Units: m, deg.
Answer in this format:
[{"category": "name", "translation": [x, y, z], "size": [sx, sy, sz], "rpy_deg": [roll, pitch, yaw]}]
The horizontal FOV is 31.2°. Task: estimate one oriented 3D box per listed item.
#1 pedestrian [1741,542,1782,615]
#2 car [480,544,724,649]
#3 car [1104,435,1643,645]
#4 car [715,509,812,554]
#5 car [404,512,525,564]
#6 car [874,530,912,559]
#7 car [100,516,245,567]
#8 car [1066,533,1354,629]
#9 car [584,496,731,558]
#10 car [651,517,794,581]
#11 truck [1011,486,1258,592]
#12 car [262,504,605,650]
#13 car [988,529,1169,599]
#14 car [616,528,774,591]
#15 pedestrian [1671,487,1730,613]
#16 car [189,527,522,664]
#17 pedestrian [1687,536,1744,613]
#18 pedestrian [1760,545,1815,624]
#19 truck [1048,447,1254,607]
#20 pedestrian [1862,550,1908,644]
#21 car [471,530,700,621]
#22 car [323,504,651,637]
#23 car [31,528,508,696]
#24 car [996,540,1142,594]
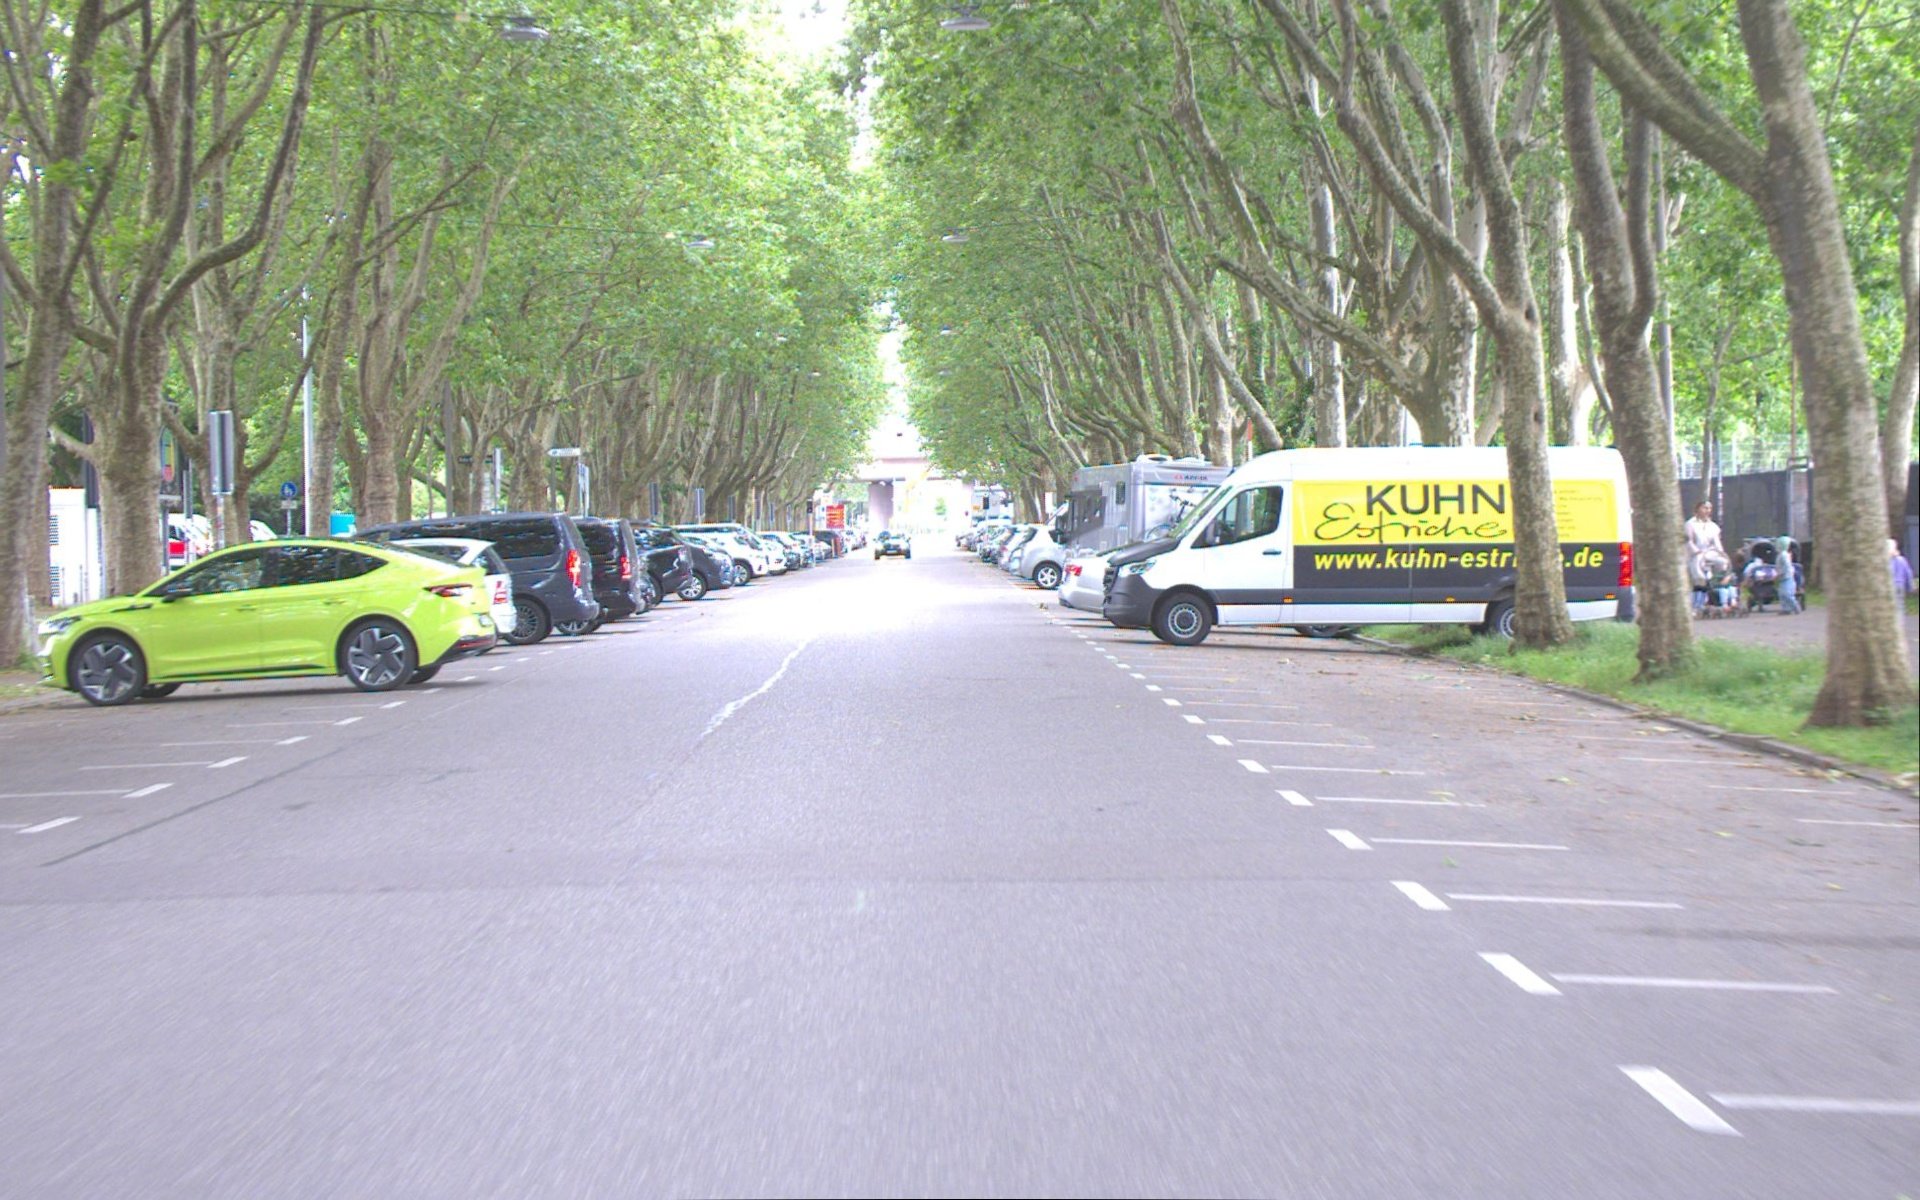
[{"category": "pedestrian", "translation": [11.385, -0.302, 48.828], "size": [0.417, 1.031, 0.396], "rpy_deg": [-1, 1, -40]}, {"category": "car", "translation": [-8.318, -0.099, 80.297], "size": [5.435, 2.120, 1.940], "rpy_deg": [-3, 2, -2]}, {"category": "car", "translation": [5.382, -0.795, 45.499], "size": [6.881, 2.686, 2.127], "rpy_deg": [0, 1, 1]}, {"category": "car", "translation": [-7.927, -2.773, 138.952], "size": [3.826, 1.622, 1.953], "rpy_deg": [-2, 1, -3]}, {"category": "car", "translation": [-24.826, -3.098, 172.338], "size": [5.786, 2.588, 2.000], "rpy_deg": [0, 1, 0]}, {"category": "car", "translation": [-3.470, -2.869, 177.312], "size": [1.654, 1.359, 4.113], "rpy_deg": [-3, 1, -4]}, {"category": "car", "translation": [-34.967, -2.591, 152.776], "size": [6.001, 2.245, 2.000], "rpy_deg": [0, 1, 0]}, {"category": "car", "translation": [3.843, -0.307, 53.036], "size": [4.360, 1.440, 1.612], "rpy_deg": [0, 1, 4]}, {"category": "car", "translation": [-9.363, -2.273, 106.723], "size": [4.340, 1.662, 2.000], "rpy_deg": [-3, 1, -2]}, {"category": "car", "translation": [-8.397, -1.800, 121.768], "size": [4.893, 2.012, 1.920], "rpy_deg": [-3, 1, -1]}, {"category": "truck", "translation": [4.514, -1.574, 89.178], "size": [6.294, 2.706, 2.098], "rpy_deg": [0, 1, 3]}, {"category": "car", "translation": [-7.657, -0.348, 50.402], "size": [4.761, 1.917, 2.018], "rpy_deg": [-2, 1, -5]}, {"category": "car", "translation": [2.909, -0.885, 84.298], "size": [4.340, 1.612, 1.803], "rpy_deg": [1, 1, 3]}, {"category": "car", "translation": [-7.607, -1.167, 98.894], "size": [4.379, 1.591, 2.000], "rpy_deg": [-3, 1, -2]}, {"category": "pedestrian", "translation": [10.392, -0.705, 48.250], "size": [0.639, 1.735, 0.621], "rpy_deg": [-3, 1, 3]}, {"category": "car", "translation": [-7.914, -0.077, 45.304], "size": [4.104, 1.563, 1.758], "rpy_deg": [-3, 1, -5]}, {"category": "pedestrian", "translation": [10.419, -0.350, 47.418], "size": [0.639, 1.056, 0.676], "rpy_deg": [0, 1, 1]}, {"category": "pedestrian", "translation": [11.425, -0.215, 47.481], "size": [0.592, 1.045, 0.588], "rpy_deg": [-3, 1, 3]}, {"category": "truck", "translation": [3.597, -1.402, 66.699], "size": [2.458, 2.927, 7.540], "rpy_deg": [0, 1, -9]}, {"category": "pedestrian", "translation": [10.865, -0.036, 40.397], "size": [0.395, 1.080, 0.419], "rpy_deg": [-3, 1, 3]}, {"category": "car", "translation": [-7.936, -0.512, 72.766], "size": [4.652, 1.814, 1.806], "rpy_deg": [-1, 0, -11]}, {"category": "car", "translation": [-7.574, -0.484, 55.468], "size": [4.905, 1.917, 2.208], "rpy_deg": [-2, 1, 1]}, {"category": "car", "translation": [-7.088, 0.105, 35.559], "size": [4.516, 1.612, 1.758], "rpy_deg": [-1, 1, 2]}, {"category": "car", "translation": [3.134, -0.953, 99.134], "size": [4.120, 1.424, 1.703], "rpy_deg": [2, 1, 2]}]
